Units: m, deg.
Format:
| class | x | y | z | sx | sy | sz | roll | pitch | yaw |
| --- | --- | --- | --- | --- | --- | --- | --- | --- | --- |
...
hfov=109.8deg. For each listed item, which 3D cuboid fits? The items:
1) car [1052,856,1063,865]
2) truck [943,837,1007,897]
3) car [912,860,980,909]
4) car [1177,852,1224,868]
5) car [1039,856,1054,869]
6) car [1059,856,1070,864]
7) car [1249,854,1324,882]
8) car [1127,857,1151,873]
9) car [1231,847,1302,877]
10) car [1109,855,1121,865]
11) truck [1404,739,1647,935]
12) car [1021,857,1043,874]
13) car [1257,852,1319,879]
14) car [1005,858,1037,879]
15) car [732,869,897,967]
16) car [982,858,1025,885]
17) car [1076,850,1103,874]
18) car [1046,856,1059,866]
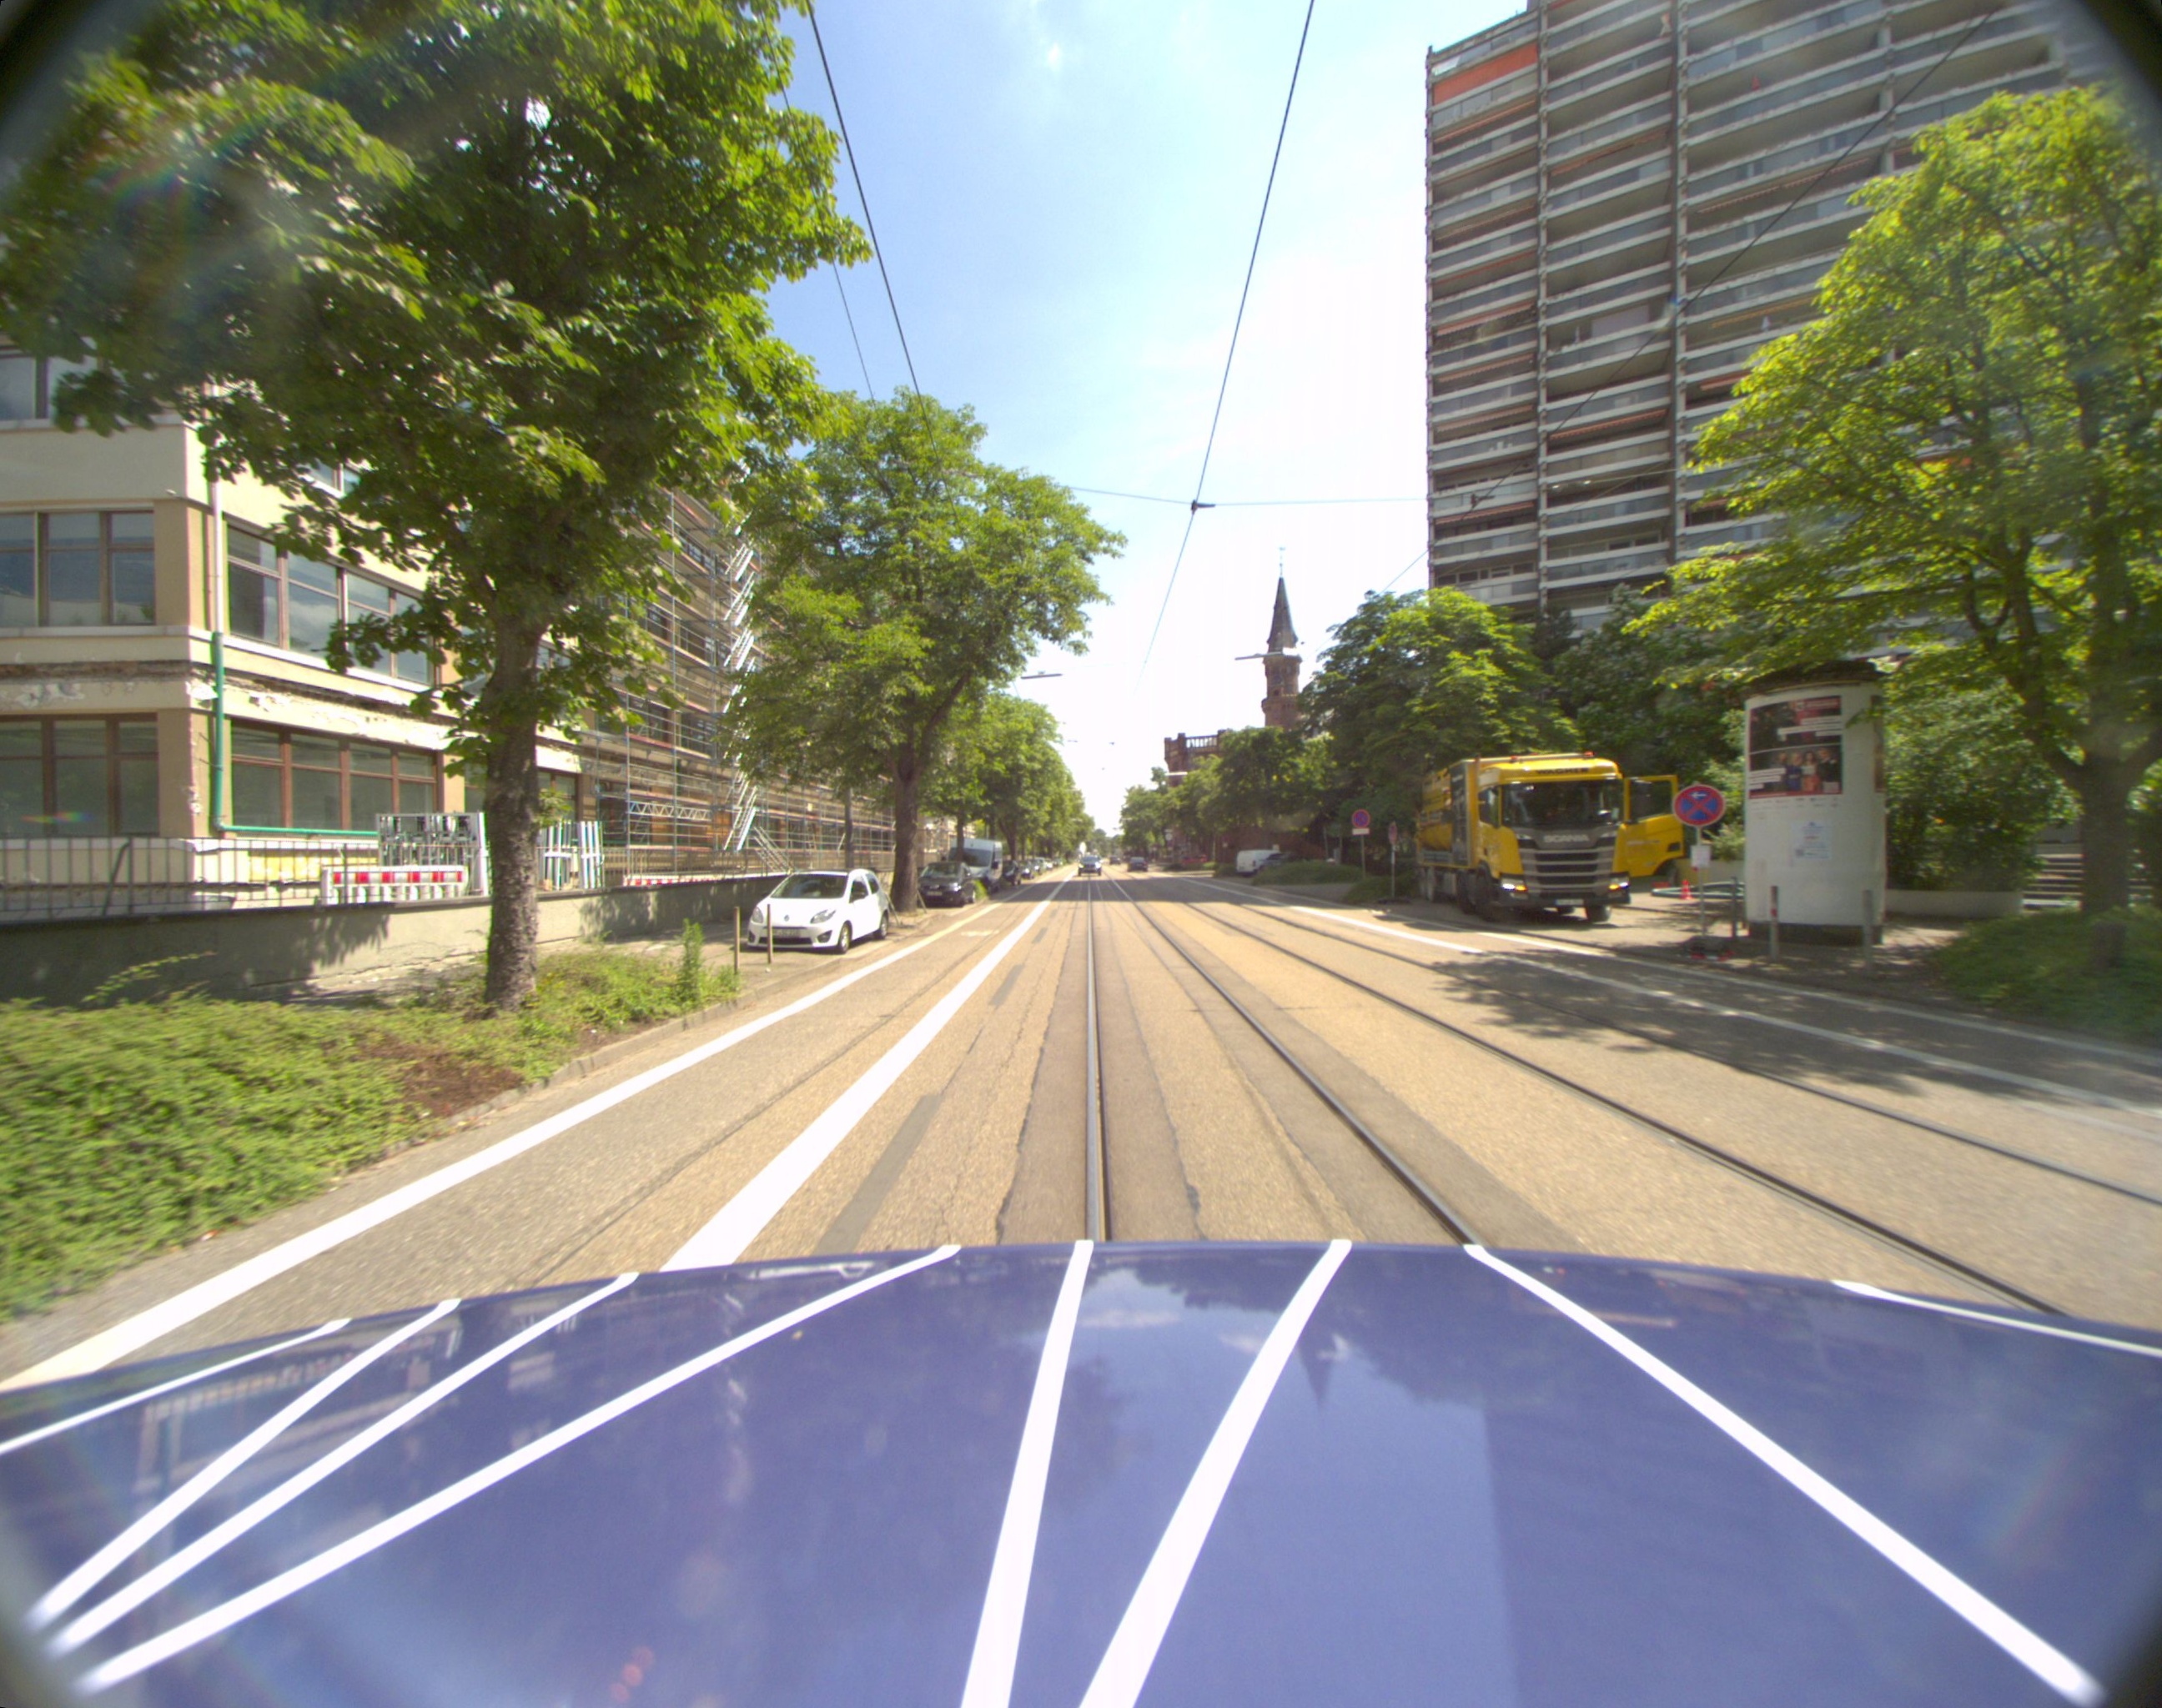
| class | x | y | z | sx | sy | sz | roll | pitch | yaw |
| --- | --- | --- | --- | --- | --- | --- | --- | --- | --- |
| car | -3.631 | 1.032 | 118.694 | 1.675 | 1.400 | 4.748 | -1 | 0 | 0 |
| truck | -4.619 | 0.542 | 34.149 | 2.019 | 2.474 | 5.956 | -1 | 0 | 0 |
| car | -4.620 | 1.007 | 26.457 | 1.648 | 1.525 | 3.947 | -1 | 0 | 0 |
| car | 12.993 | 0.627 | 82.857 | 4.787 | 1.557 | 1.997 | -1 | 0 | -28 |
| car | -3.998 | 0.947 | 88.224 | 1.676 | 1.490 | 4.364 | -1 | 0 | -3 |
| car | -2.920 | 1.043 | 137.542 | 1.756 | 1.263 | 3.833 | -2 | 0 | 1 |
| car | 11.800 | 0.766 | 43.461 | 4.455 | 1.386 | 1.768 | -2 | 0 | -38 |
| car | 5.499 | 1.044 | 72.890 | 1.779 | 1.389 | 4.286 | -1 | 0 | -3 |
| car | 12.287 | 0.535 | 50.234 | 4.555 | 1.780 | 1.896 | -2 | 0 | -32 |
| car | 5.943 | 1.060 | 132.915 | 1.835 | 1.671 | 4.184 | -1 | 0 | 1 |
| truck | 11.152 | -0.396 | 20.588 | 2.719 | 3.819 | 10.974 | -2 | 1 | 15 |
| car | -4.196 | 0.993 | 65.864 | 1.675 | 1.429 | 4.042 | -1 | 0 | 0 |
| car | 12.966 | 0.684 | 47.480 | 3.958 | 1.523 | 1.768 | -2 | 0 | -41 |
| car | -4.341 | 1.007 | 55.584 | 1.829 | 1.463 | 4.487 | -1 | 0 | 2 |
| car | -4.822 | 1.081 | 14.339 | 1.648 | 1.525 | 3.786 | -1 | 0 | 2 |
| car | -4.507 | 1.001 | 44.660 | 1.828 | 1.463 | 4.401 | -1 | 0 | 3 |
| car | 0.661 | 0.605 | 59.593 | 1.998 | 1.731 | 4.227 | -2 | 0 | 0 |
| car | -4.030 | 0.983 | 108.416 | 1.675 | 1.481 | 3.980 | -1 | 0 | 0 |
